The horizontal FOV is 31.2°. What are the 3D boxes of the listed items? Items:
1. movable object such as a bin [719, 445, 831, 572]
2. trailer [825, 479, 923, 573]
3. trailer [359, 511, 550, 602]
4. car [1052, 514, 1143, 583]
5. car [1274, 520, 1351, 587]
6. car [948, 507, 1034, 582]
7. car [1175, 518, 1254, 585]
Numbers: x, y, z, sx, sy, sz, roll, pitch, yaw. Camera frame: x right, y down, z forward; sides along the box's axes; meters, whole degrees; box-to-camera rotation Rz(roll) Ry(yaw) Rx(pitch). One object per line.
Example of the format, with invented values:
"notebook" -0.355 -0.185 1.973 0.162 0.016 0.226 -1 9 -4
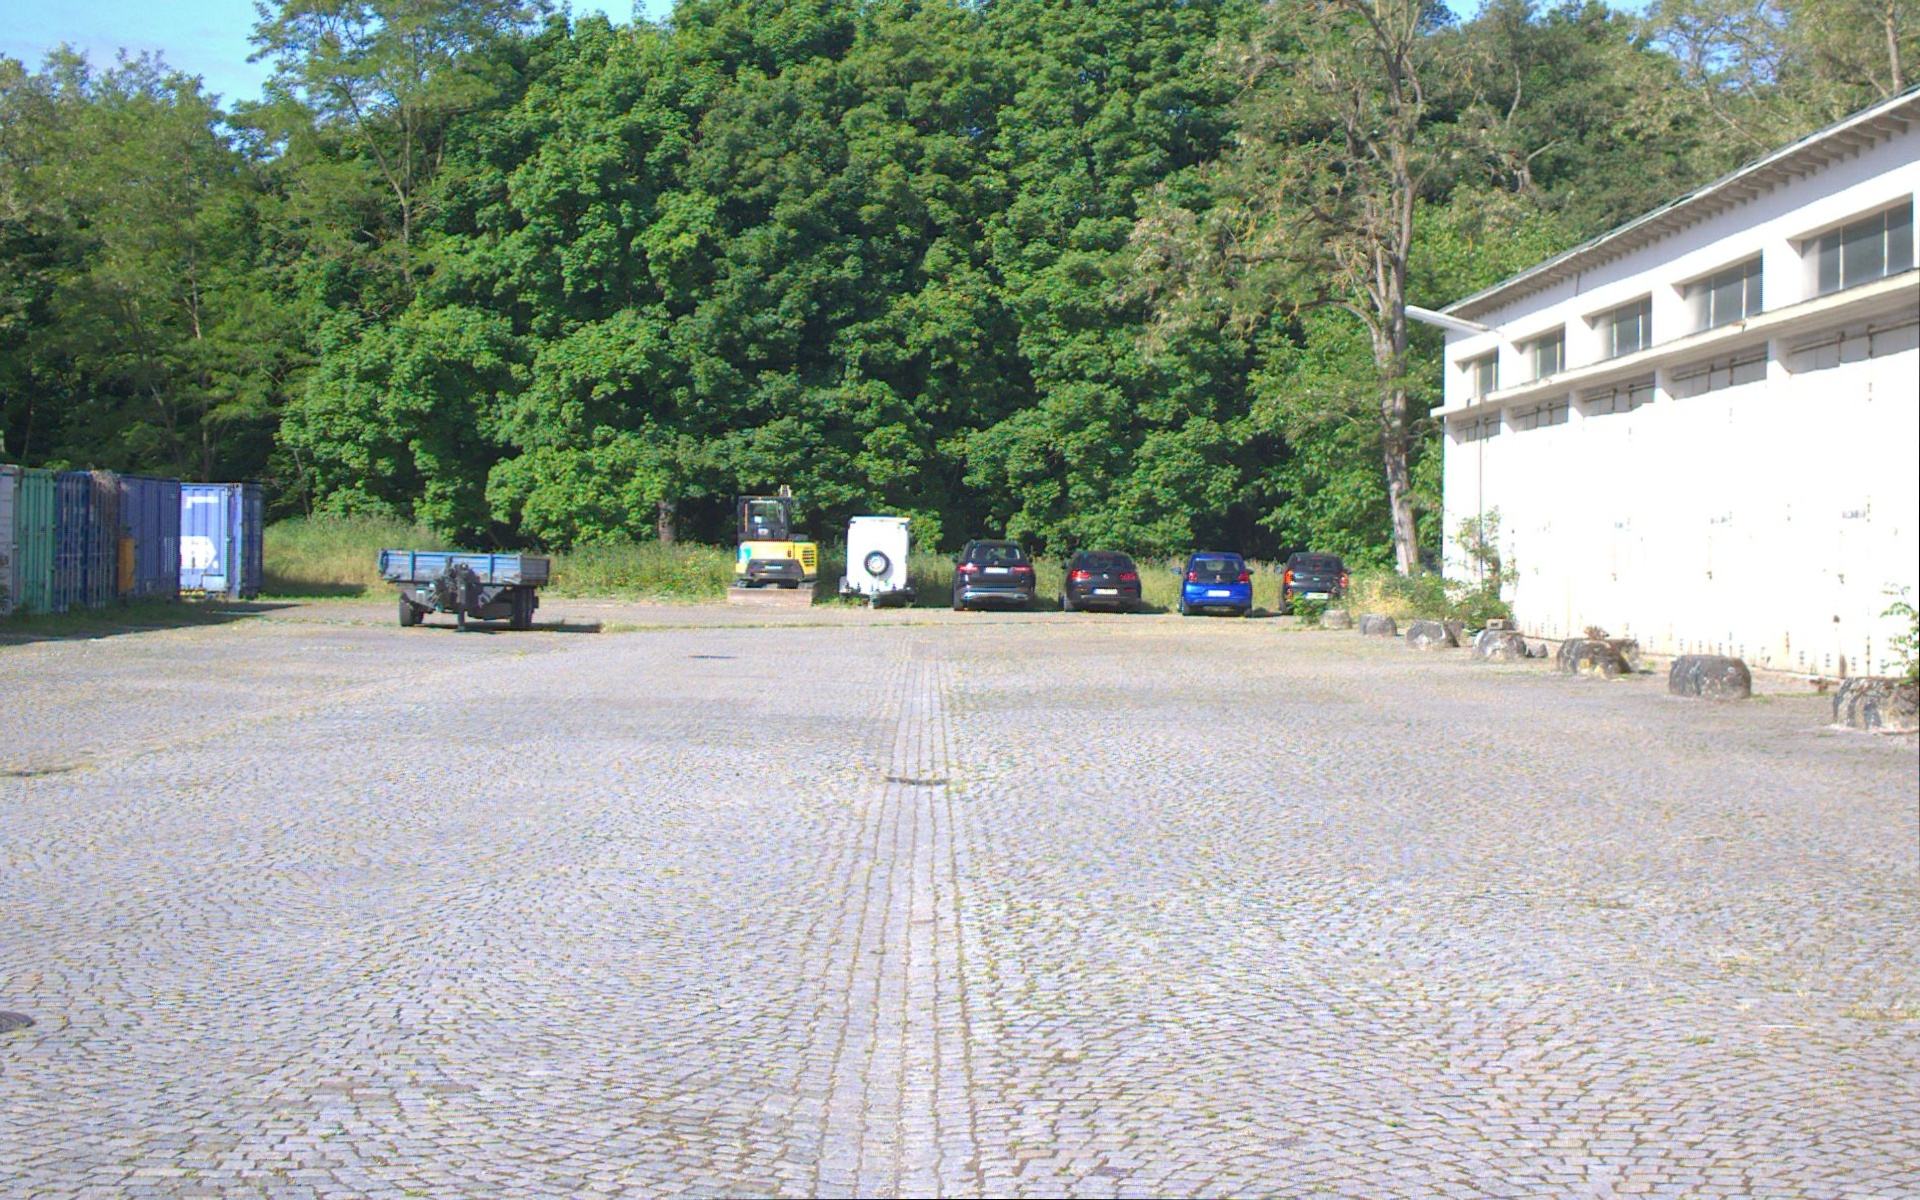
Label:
"movable object such as a bin" -4.415 -2.248 82.805 2.306 2.886 5.751 2 2 0
"trailer" -2.032 -1.802 82.227 2.193 2.087 5.752 2 2 -1
"trailer" -9.046 -0.823 62.133 2.705 1.460 6.248 2 2 -2
"car" 3.179 -1.227 80.241 1.863 1.465 4.296 2 2 -1
"car" 8.385 -1.128 81.606 1.744 1.431 4.182 2 2 6
"car" 0.693 -1.306 79.865 1.863 1.583 4.296 2 2 -1
"car" 5.948 -1.153 80.189 1.744 1.431 4.182 2 2 5
